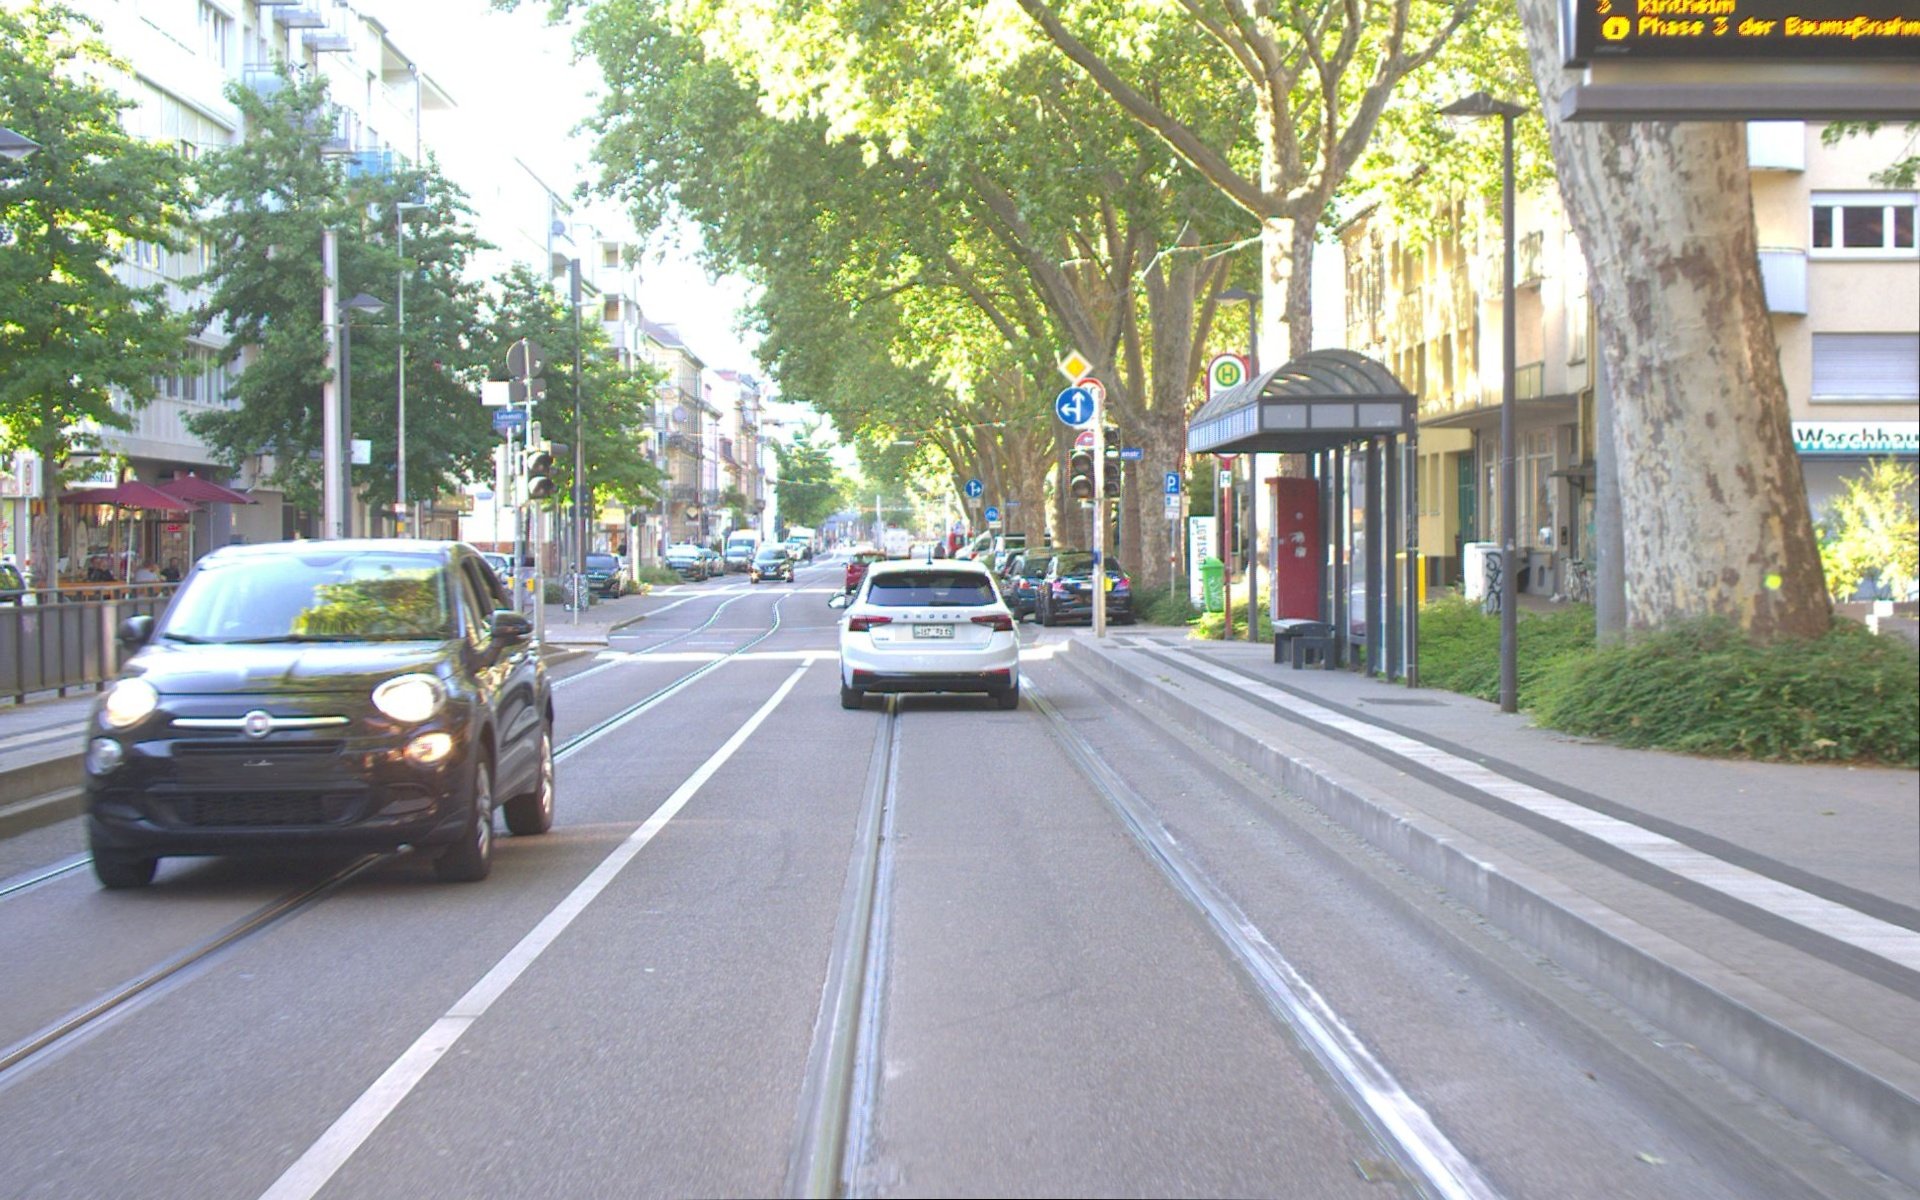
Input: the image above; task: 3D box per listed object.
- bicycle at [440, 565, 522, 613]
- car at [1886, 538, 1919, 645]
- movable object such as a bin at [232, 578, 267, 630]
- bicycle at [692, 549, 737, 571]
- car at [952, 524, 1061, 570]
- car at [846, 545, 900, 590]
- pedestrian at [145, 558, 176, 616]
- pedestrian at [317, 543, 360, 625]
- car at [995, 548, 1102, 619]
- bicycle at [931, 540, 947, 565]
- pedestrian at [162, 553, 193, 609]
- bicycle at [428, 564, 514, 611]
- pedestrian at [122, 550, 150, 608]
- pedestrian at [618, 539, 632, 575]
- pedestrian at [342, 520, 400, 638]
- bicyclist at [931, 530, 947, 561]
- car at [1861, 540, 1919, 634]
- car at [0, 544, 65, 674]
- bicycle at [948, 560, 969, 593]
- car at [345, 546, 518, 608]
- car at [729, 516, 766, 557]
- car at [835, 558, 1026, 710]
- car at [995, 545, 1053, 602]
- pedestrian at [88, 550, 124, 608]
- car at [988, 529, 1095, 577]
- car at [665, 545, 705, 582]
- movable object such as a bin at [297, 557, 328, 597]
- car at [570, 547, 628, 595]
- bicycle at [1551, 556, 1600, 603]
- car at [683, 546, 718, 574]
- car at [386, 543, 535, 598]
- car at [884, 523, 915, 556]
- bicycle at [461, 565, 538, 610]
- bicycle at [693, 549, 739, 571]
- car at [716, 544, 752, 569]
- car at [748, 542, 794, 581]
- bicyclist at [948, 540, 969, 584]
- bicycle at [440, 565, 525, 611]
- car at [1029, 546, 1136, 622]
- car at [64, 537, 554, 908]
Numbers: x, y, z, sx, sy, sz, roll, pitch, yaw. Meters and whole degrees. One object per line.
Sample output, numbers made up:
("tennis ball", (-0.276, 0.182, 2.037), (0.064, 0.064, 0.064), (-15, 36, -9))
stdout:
("bicycle", (-10.166, -0.236, 73.032), (1.690, 1.004, 0.658), (1, 0, -5))
("car", (17.074, -0.173, 55.232), (3.861, 1.687, 1.866), (-1, 1, -1))
("movable object such as a bin", (-12.830, 0.067, 62.099), (0.538, 0.929, 0.650), (-1, 1, -18))
("bicycle", (-13.988, -2.261, 195.873), (2.525, 1.168, 0.883), (2, -1, -40))
("car", (2.636, -3.052, 197.883), (6.129, 2.626, 2.529), (0, 1, -2))
("car", (-2.955, -1.104, 116.052), (1.761, 1.470, 4.000), (-1, 1, -2))
("pedestrian", (-16.857, -0.274, 72.495), (0.511, 1.194, 0.564), (-1, 1, 1))
("pedestrian", (-11.768, -0.308, 65.107), (0.725, 1.551, 0.769), (-1, 1, -6))
("car", (1.882, -0.376, 74.312), (1.864, 1.432, 4.227), (-1, 1, -4))
("bicycle", (-0.933, -2.104, 152.417), (0.649, 1.067, 1.583), (-1, 1, -3))
("pedestrian", (-17.009, -0.418, 74.740), (0.511, 1.194, 0.564), (-1, 1, -30))
("bicycle", (-10.656, -0.269, 74.952), (1.829, 1.004, 0.658), (1, 0, -5))
("pedestrian", (-16.964, -0.432, 70.804), (0.511, 1.194, 0.564), (-1, 1, -17))
("pedestrian", (-16.977, -2.195, 174.333), (0.663, 1.820, 0.965), (0, 1, -2))
("pedestrian", (-7.951, -0.292, 46.411), (0.654, 1.579, 0.772), (0, 1, 0))
("bicyclist", (-0.942, -2.409, 152.425), (0.649, 1.339, 0.934), (-1, 1, -3))
("car", (18.199, -0.262, 61.129), (3.861, 1.547, 1.866), (-1, 3, -1))
("car", (-13.130, 0.107, 44.795), (1.878, 1.645, 4.358), (-1, 1, -2))
("bicycle", (-0.044, -0.768, 113.318), (0.681, 1.067, 1.781), (-1, 1, 0))
("car", (-13.138, -0.582, 85.621), (4.012, 1.470, 1.852), (1, 0, 0))
("car", (-14.709, -4.396, 238.014), (2.342, 2.851, 4.000), (0, 1, -1))
("car", (-0.349, 0.292, 34.042), (1.761, 1.379, 4.001), (-1, 1, -2))
("car", (1.797, -0.741, 96.312), (1.564, 1.514, 2.910), (-2, 0, 1))
("pedestrian", (-17.676, -0.435, 71.147), (0.562, 1.194, 0.513), (-1, 1, -36))
("car", (3.548, -2.051, 150.901), (4.543, 2.069, 2.001), (0, 1, -3))
("car", (-13.015, -1.753, 162.914), (1.702, 1.645, 4.242), (2, 1, -2))
("movable object such as a bin", (-16.923, -0.605, 89.821), (0.678, 1.052, 0.622), (-1, 1, 1))
("car", (-11.927, -0.972, 113.513), (1.713, 1.459, 4.001), (3, 0, -8))
("bicycle", (13.525, -0.461, 75.546), (0.570, 0.993, 1.781), (-2, 1, -5))
("car", (-13.485, -2.083, 178.779), (1.653, 1.432, 3.837), (0, 1, -2))
("car", (-14.076, -0.824, 97.023), (4.012, 1.470, 1.852), (1, 0, -3))
("car", (-4.345, -4.381, 248.671), (2.202, 2.379, 4.000), (0, 1, -1))
("bicycle", (-10.458, -0.281, 78.086), (1.690, 1.004, 0.658), (1, 0, -5))
("bicycle", (-13.938, -2.273, 196.496), (2.524, 1.168, 0.719), (2, -1, -7))
("car", (-13.647, -2.631, 207.645), (1.993, 1.525, 4.000), (0, 1, -1))
("car", (-8.095, -1.681, 147.782), (1.871, 1.584, 4.147), (2, 1, -2))
("bicyclist", (-0.054, -1.264, 113.359), (0.678, 1.438, 1.047), (-1, 1, 0))
("bicycle", (-10.657, -0.273, 76.731), (1.829, 1.004, 0.658), (1, 0, -5))
("car", (2.436, -0.353, 69.397), (1.764, 1.457, 5.013), (0, 1, -2))
("car", (-3.044, 0.494, 16.847), (1.761, 1.583, 4.000), (-1, 1, -2))
